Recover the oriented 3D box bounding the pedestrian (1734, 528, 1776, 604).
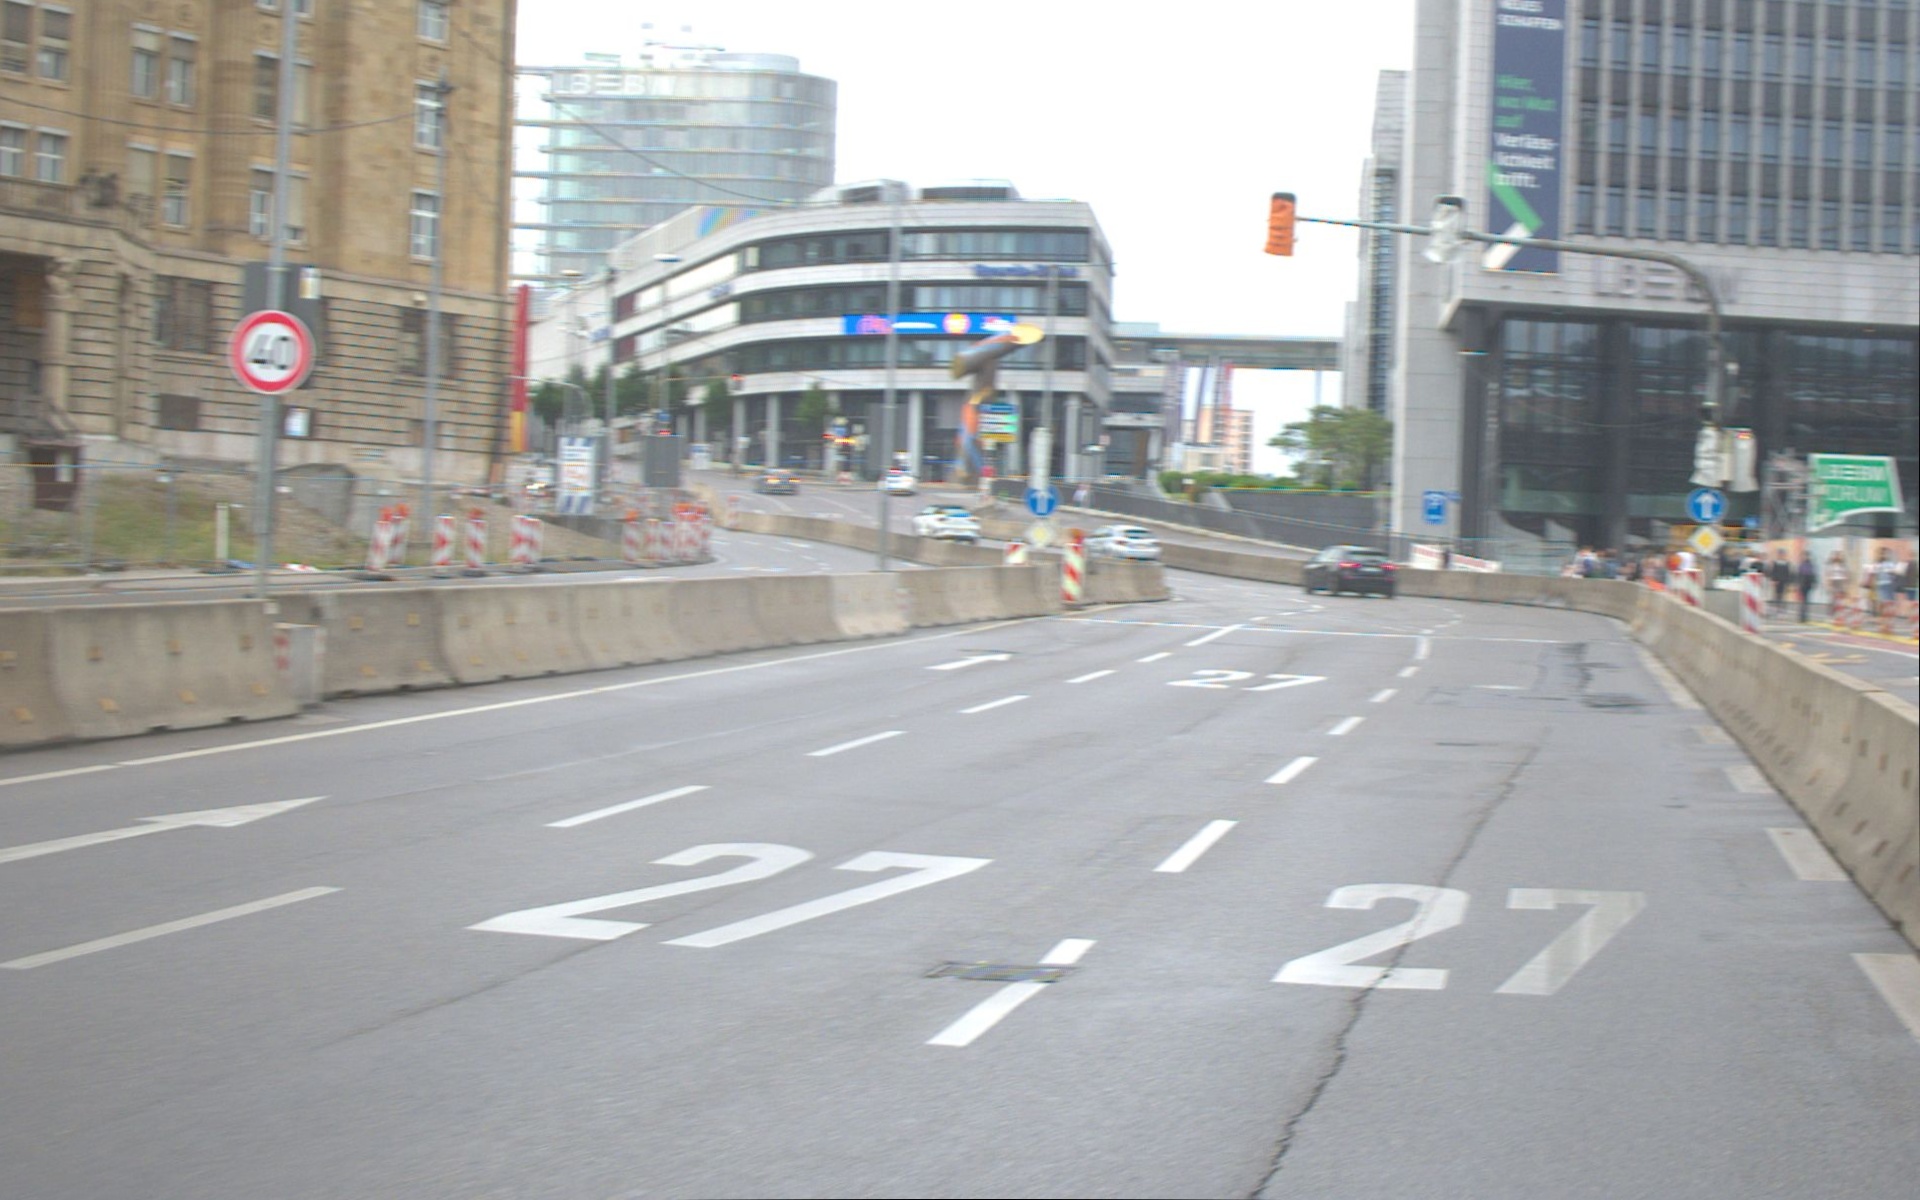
[{"bbox_3d":[19.511,-0.842,84.377,0.819,1.821,1.111,1,1,6],"label":"pedestrian"}]

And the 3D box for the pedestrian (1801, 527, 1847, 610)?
[{"bbox_3d":[19.633,-0.726,78.163,0.779,1.855,1.058,2,2,5],"label":"pedestrian"}]

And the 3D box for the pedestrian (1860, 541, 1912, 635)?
[{"bbox_3d":[18.782,-0.256,69.760,0.779,1.855,0.949,2,2,5],"label":"pedestrian"}]

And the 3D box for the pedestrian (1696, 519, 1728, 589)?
[{"bbox_3d":[22.164,-1.356,101.282,0.785,2.006,0.862,3,2,15],"label":"pedestrian"}]

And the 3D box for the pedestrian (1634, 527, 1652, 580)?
[{"bbox_3d":[22.485,-1.533,113.245,0.448,1.699,0.646,3,2,17],"label":"pedestrian"}]

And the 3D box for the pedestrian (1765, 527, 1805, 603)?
[{"bbox_3d":[20.482,-0.874,85.368,0.779,1.855,0.811,2,2,5],"label":"pedestrian"}]

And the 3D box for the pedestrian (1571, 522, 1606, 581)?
[{"bbox_3d":[17.854,-1.385,97.709,0.750,1.636,0.823,2,2,-3],"label":"pedestrian"}]

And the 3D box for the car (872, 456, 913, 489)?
[{"bbox_3d":[-3.883,-7.288,196.304,1.993,1.798,4.267,2,2,-5],"label":"car"}]

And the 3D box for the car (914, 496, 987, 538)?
[{"bbox_3d":[-0.379,-3.205,132.012,1.740,1.501,3.755,2,1,-17],"label":"car"}]

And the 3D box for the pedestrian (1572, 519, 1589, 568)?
[{"bbox_3d":[21.861,-1.987,121.150,0.448,1.699,0.647,2,2,4],"label":"pedestrian"}]

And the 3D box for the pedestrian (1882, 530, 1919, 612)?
[{"bbox_3d":[21.449,-0.660,78.200,0.733,1.848,0.831,2,1,7],"label":"pedestrian"}]

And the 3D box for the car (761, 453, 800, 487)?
[{"bbox_3d":[-10.076,-7.301,192.937,1.993,1.798,4.267,2,2,-5],"label":"car"}]

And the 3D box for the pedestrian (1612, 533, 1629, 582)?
[{"bbox_3d":[23.240,-1.503,120.971,0.448,1.699,0.647,2,2,4],"label":"pedestrian"}]

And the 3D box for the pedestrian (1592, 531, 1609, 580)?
[{"bbox_3d":[22.545,-1.557,121.072,0.453,1.699,0.647,2,2,4],"label":"pedestrian"}]

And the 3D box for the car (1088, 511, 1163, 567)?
[{"bbox_3d":[5.782,-2.163,120.661,1.738,1.869,3.779,2,2,-11],"label":"car"}]

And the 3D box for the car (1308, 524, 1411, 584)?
[{"bbox_3d":[11.041,-1.249,95.227,1.674,1.503,3.746,2,-1,-12],"label":"car"}]

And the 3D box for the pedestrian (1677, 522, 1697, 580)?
[{"bbox_3d":[23.182,-1.570,109.638,0.529,1.812,0.536,2,2,8],"label":"pedestrian"}]

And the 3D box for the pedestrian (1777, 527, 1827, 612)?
[{"bbox_3d":[18.730,-0.687,76.498,0.870,1.855,0.949,2,2,5],"label":"pedestrian"}]

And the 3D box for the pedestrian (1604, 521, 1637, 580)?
[{"bbox_3d":[18.784,-1.417,97.779,0.658,1.636,0.823,2,2,-3],"label":"pedestrian"}]

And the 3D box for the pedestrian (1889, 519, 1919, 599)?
[{"bbox_3d":[22.293,-0.964,80.679,0.779,1.855,0.811,1,1,5],"label":"pedestrian"}]

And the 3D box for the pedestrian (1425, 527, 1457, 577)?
[{"bbox_3d":[17.483,-1.746,124.924,0.756,1.784,1.057,2,1,-12],"label":"pedestrian"}]
